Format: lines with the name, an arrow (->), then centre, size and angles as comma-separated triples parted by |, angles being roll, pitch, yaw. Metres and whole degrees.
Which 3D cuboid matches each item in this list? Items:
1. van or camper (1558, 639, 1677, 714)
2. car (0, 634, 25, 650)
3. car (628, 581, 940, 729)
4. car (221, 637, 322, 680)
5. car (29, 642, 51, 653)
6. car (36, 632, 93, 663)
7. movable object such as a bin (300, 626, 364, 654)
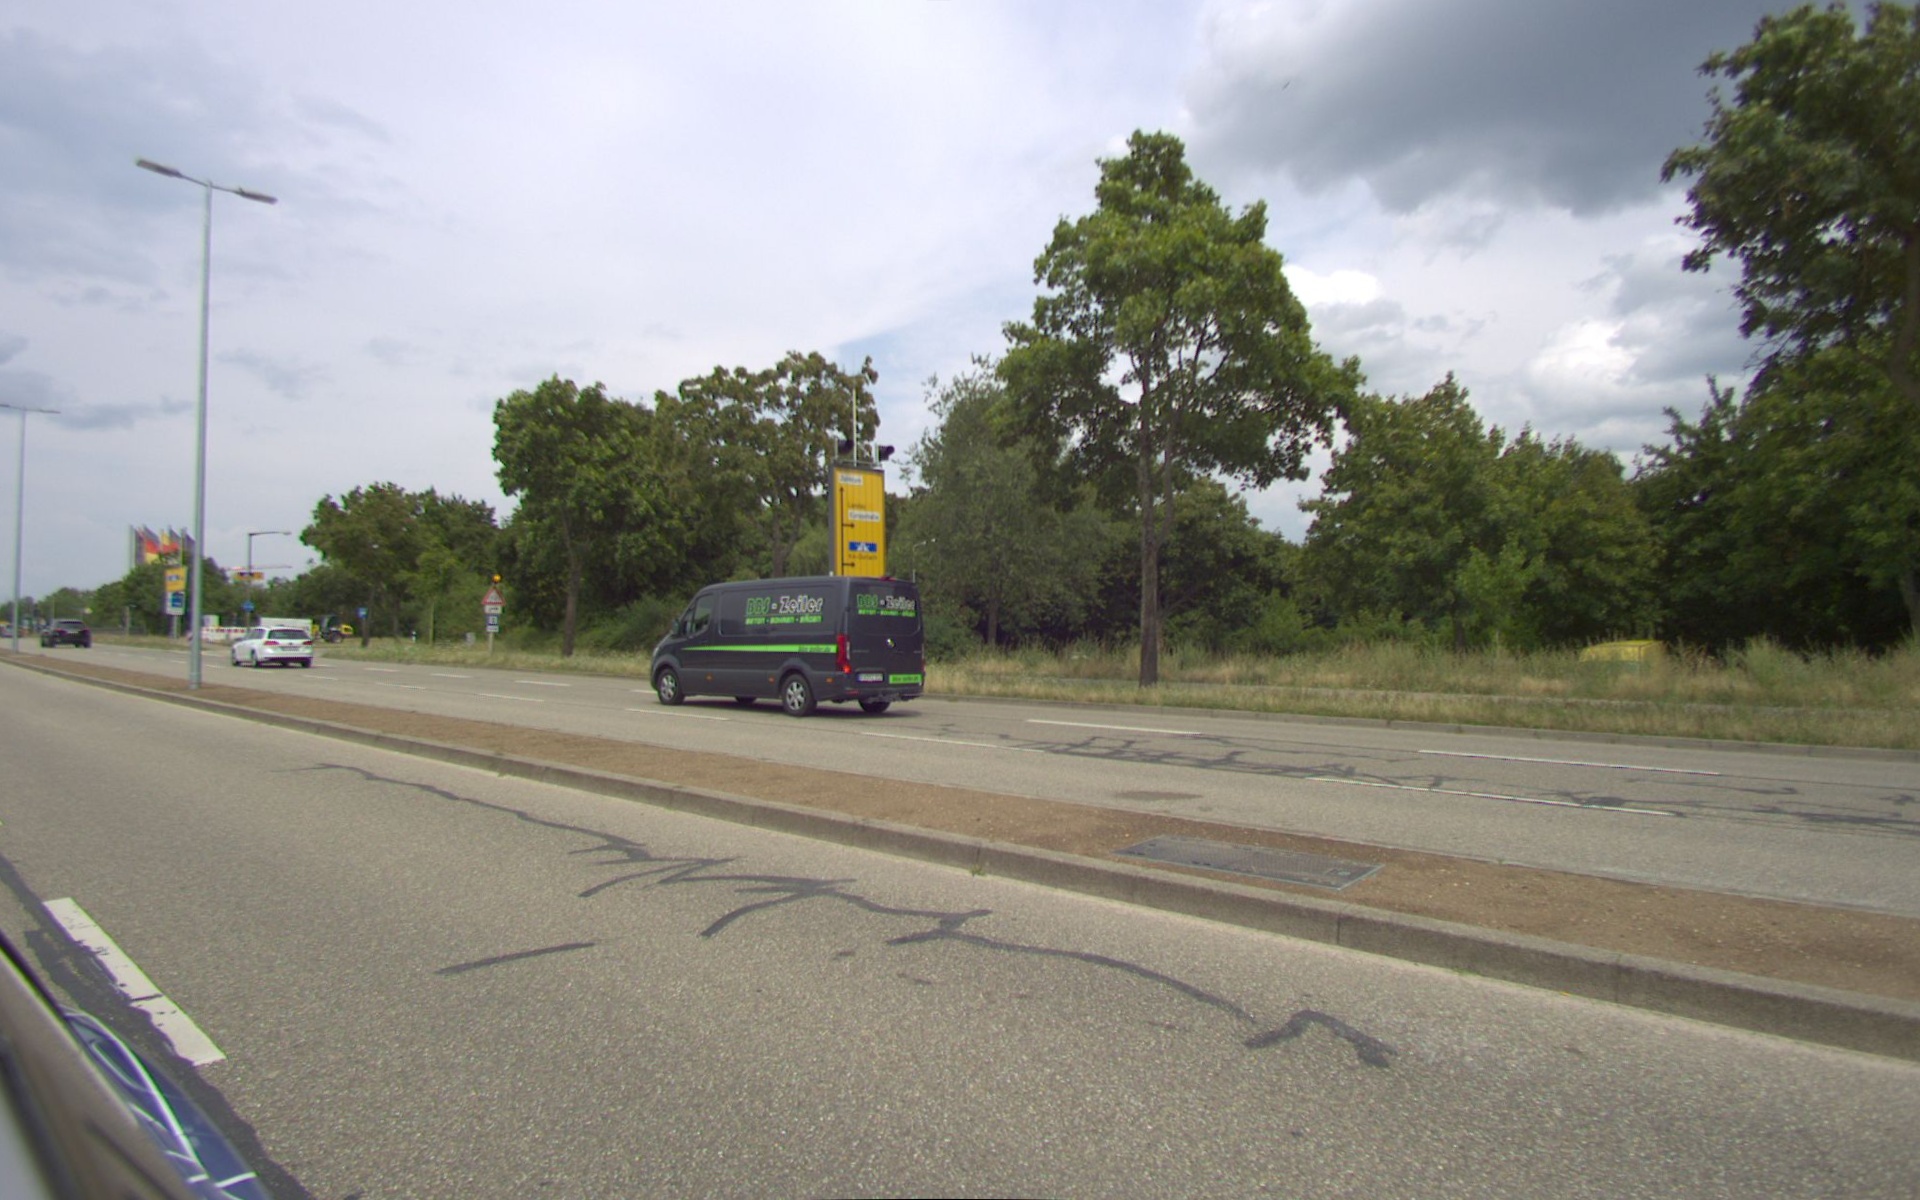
van or camper -> 21.061, 2.370, 32.348 | 4.299, 2.029, 2.003 | -2, 0, -41
car -> -120.219, 5.321, 128.361 | 4.538, 1.823, 1.882 | -4, -3, 42
car -> -3.280, 0.963, 17.909 | 5.999, 2.218, 2.074 | -3, -4, 40
car -> -24.948, 2.108, 36.607 | 4.686, 1.442, 1.972 | -3, -4, 42
car -> -114.087, 5.896, 125.453 | 4.347, 1.332, 1.734 | -4, -3, 44
car -> -55.904, 2.988, 63.139 | 4.794, 1.825, 1.973 | -4, -4, 40
movable object such as a bin -> -56.786, 3.626, 91.645 | 1.993, 2.415, 4.543 | -3, -3, 32
